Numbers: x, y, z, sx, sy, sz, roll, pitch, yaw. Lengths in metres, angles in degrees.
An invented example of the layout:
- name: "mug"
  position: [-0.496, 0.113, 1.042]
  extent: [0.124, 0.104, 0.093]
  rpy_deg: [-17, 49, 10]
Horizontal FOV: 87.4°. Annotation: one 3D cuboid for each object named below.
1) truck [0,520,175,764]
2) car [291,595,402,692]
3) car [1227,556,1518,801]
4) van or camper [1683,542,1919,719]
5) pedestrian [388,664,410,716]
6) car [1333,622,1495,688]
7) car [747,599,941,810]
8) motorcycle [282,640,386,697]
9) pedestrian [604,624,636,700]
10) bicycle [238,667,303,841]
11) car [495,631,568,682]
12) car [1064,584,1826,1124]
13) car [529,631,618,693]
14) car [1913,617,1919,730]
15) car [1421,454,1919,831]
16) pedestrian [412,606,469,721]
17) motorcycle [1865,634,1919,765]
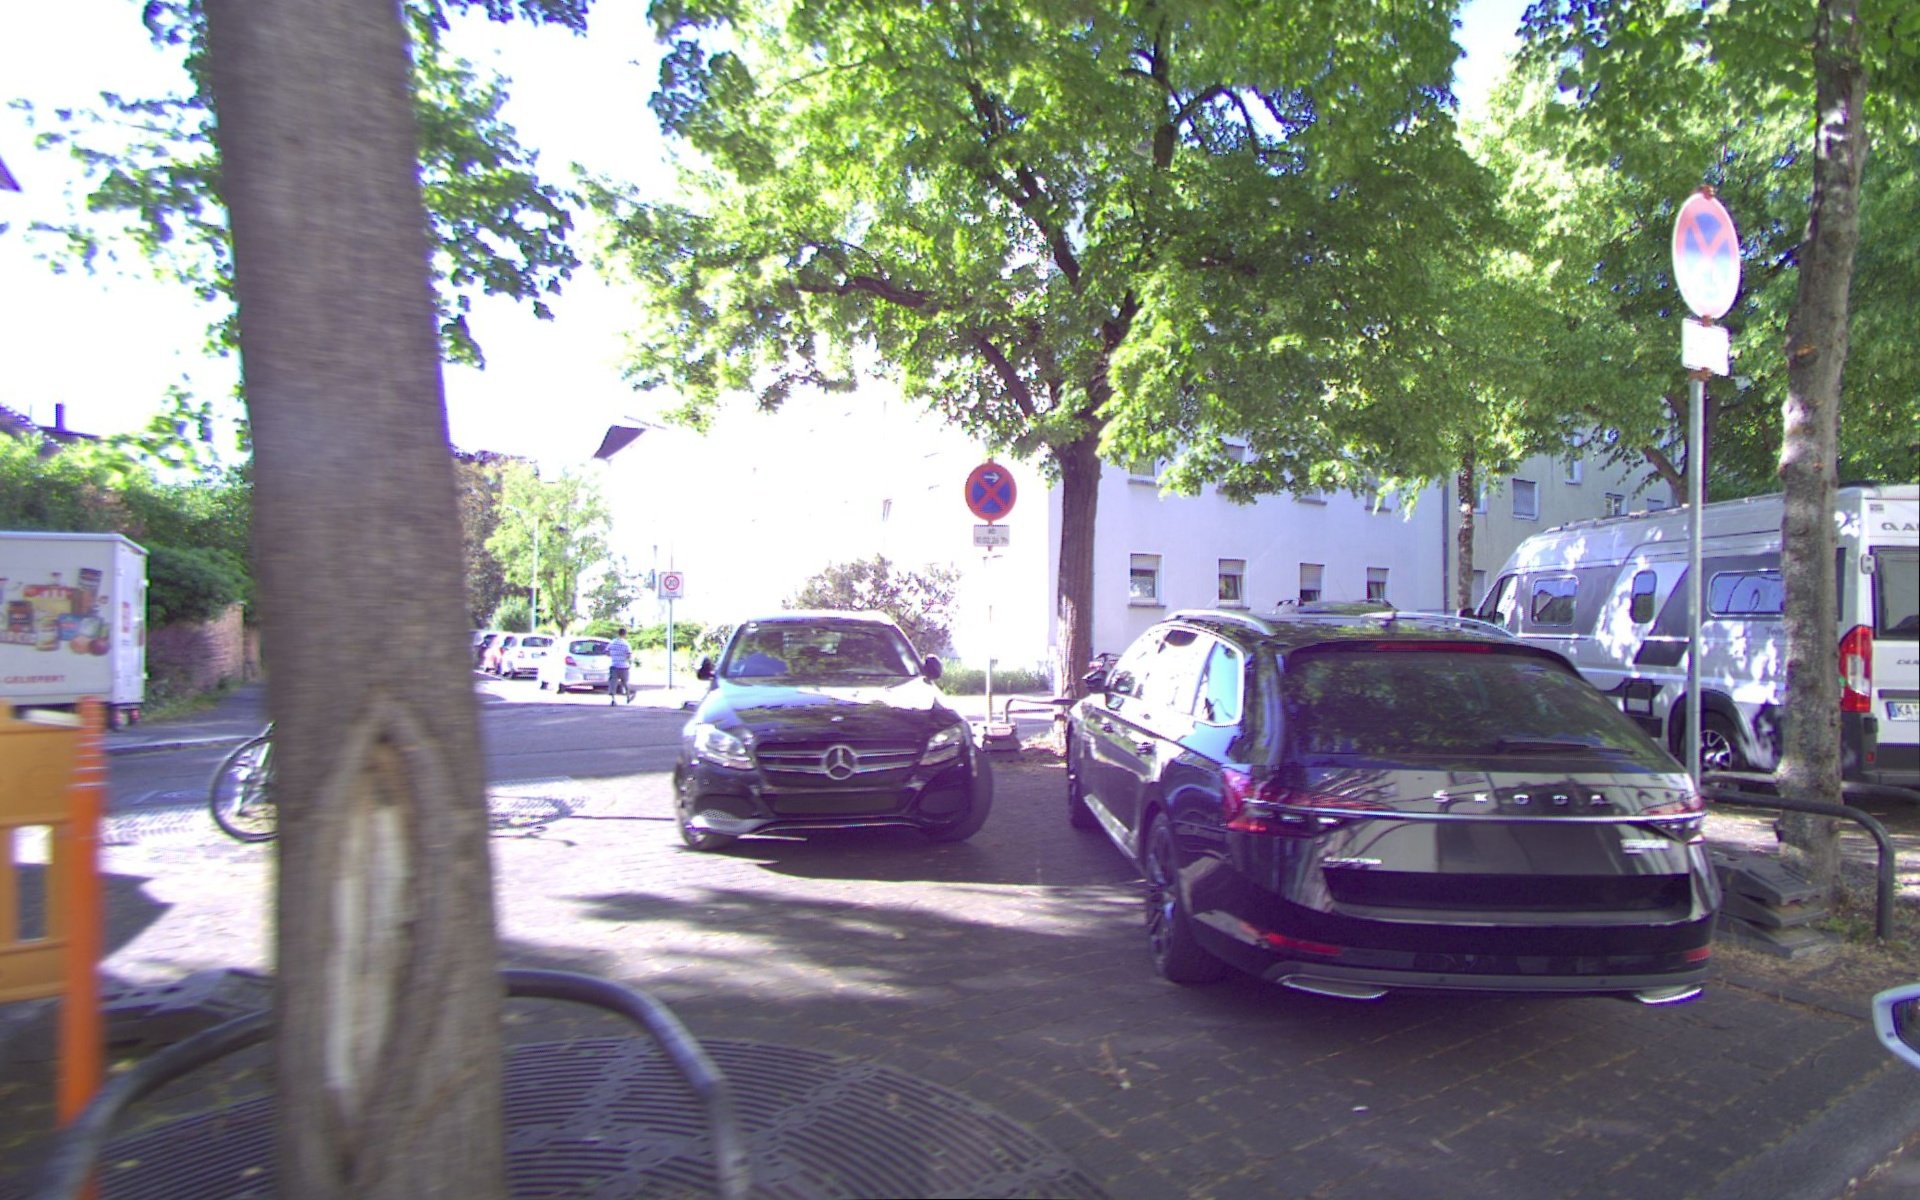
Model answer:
- name: "truck"
  position: [-10.968, 0.423, 10.374]
  extent: [4.214, 2.441, 1.913]
  rpy_deg: [1, -2, -30]
- name: "car"
  position: [-14.565, 1.032, 23.738]
  extent: [1.980, 2.052, 4.320]
  rpy_deg: [1, -3, -35]
- name: "car"
  position: [3.895, 0.672, 10.315]
  extent: [1.959, 1.940, 4.387]
  rpy_deg: [0, -1, 11]
- name: "van or camper"
  position: [16.583, 0.517, 18.054]
  extent: [2.361, 2.862, 6.304]
  rpy_deg: [1, 0, -3]
- name: "pedestrian"
  position: [-9.168, 1.468, 16.422]
  extent: [0.189, 0.824, 0.223]
  rpy_deg: [3, -4, -7]
- name: "car"
  position: [11.019, 1.298, 24.290]
  extent: [4.040, 1.455, 1.739]
  rpy_deg: [1, -3, -35]
- name: "car"
  position: [-1.110, 0.767, 8.579]
  extent: [1.223, 1.472, 2.947]
  rpy_deg: [1, -1, -15]
- name: "motorcycle"
  position: [-12.951, 1.406, 20.810]
  extent: [1.776, 1.152, 0.479]
  rpy_deg: [1, -1, -5]
- name: "pedestrian"
  position: [-7.512, 1.360, 22.172]
  extent: [0.551, 1.661, 0.485]
  rpy_deg: [1, -2, -36]
- name: "bicycle"
  position: [-4.668, 0.981, 6.838]
  extent: [0.280, 0.993, 1.615]
  rpy_deg: [1, -2, -32]
- name: "car"
  position: [-14.721, 1.875, 34.431]
  extent: [1.635, 1.590, 3.964]
  rpy_deg: [1, -1, -33]
- name: "car"
  position: [1.645, 0.728, 5.003]
  extent: [1.669, 1.546, 4.099]
  rpy_deg: [2, 1, -2]
- name: "car"
  position: [-10.620, 1.624, 27.452]
  extent: [1.634, 1.538, 3.967]
  rpy_deg: [1, -1, -31]
- name: "car"
  position: [14.083, 0.998, 12.534]
  extent: [1.631, 1.639, 3.882]
  rpy_deg: [-1, -2, 18]
- name: "car"
  position: [7.245, 0.356, 10.110]
  extent: [2.292, 2.592, 6.329]
  rpy_deg: [1, -1, 0]
- name: "pedestrian"
  position: [-8.487, 1.027, 16.438]
  extent: [0.658, 1.847, 0.582]
  rpy_deg: [1, -1, -11]
- name: "motorcycle"
  position: [10.810, 1.026, 10.198]
  extent: [0.961, 1.352, 2.299]
  rpy_deg: [1, -2, -41]
